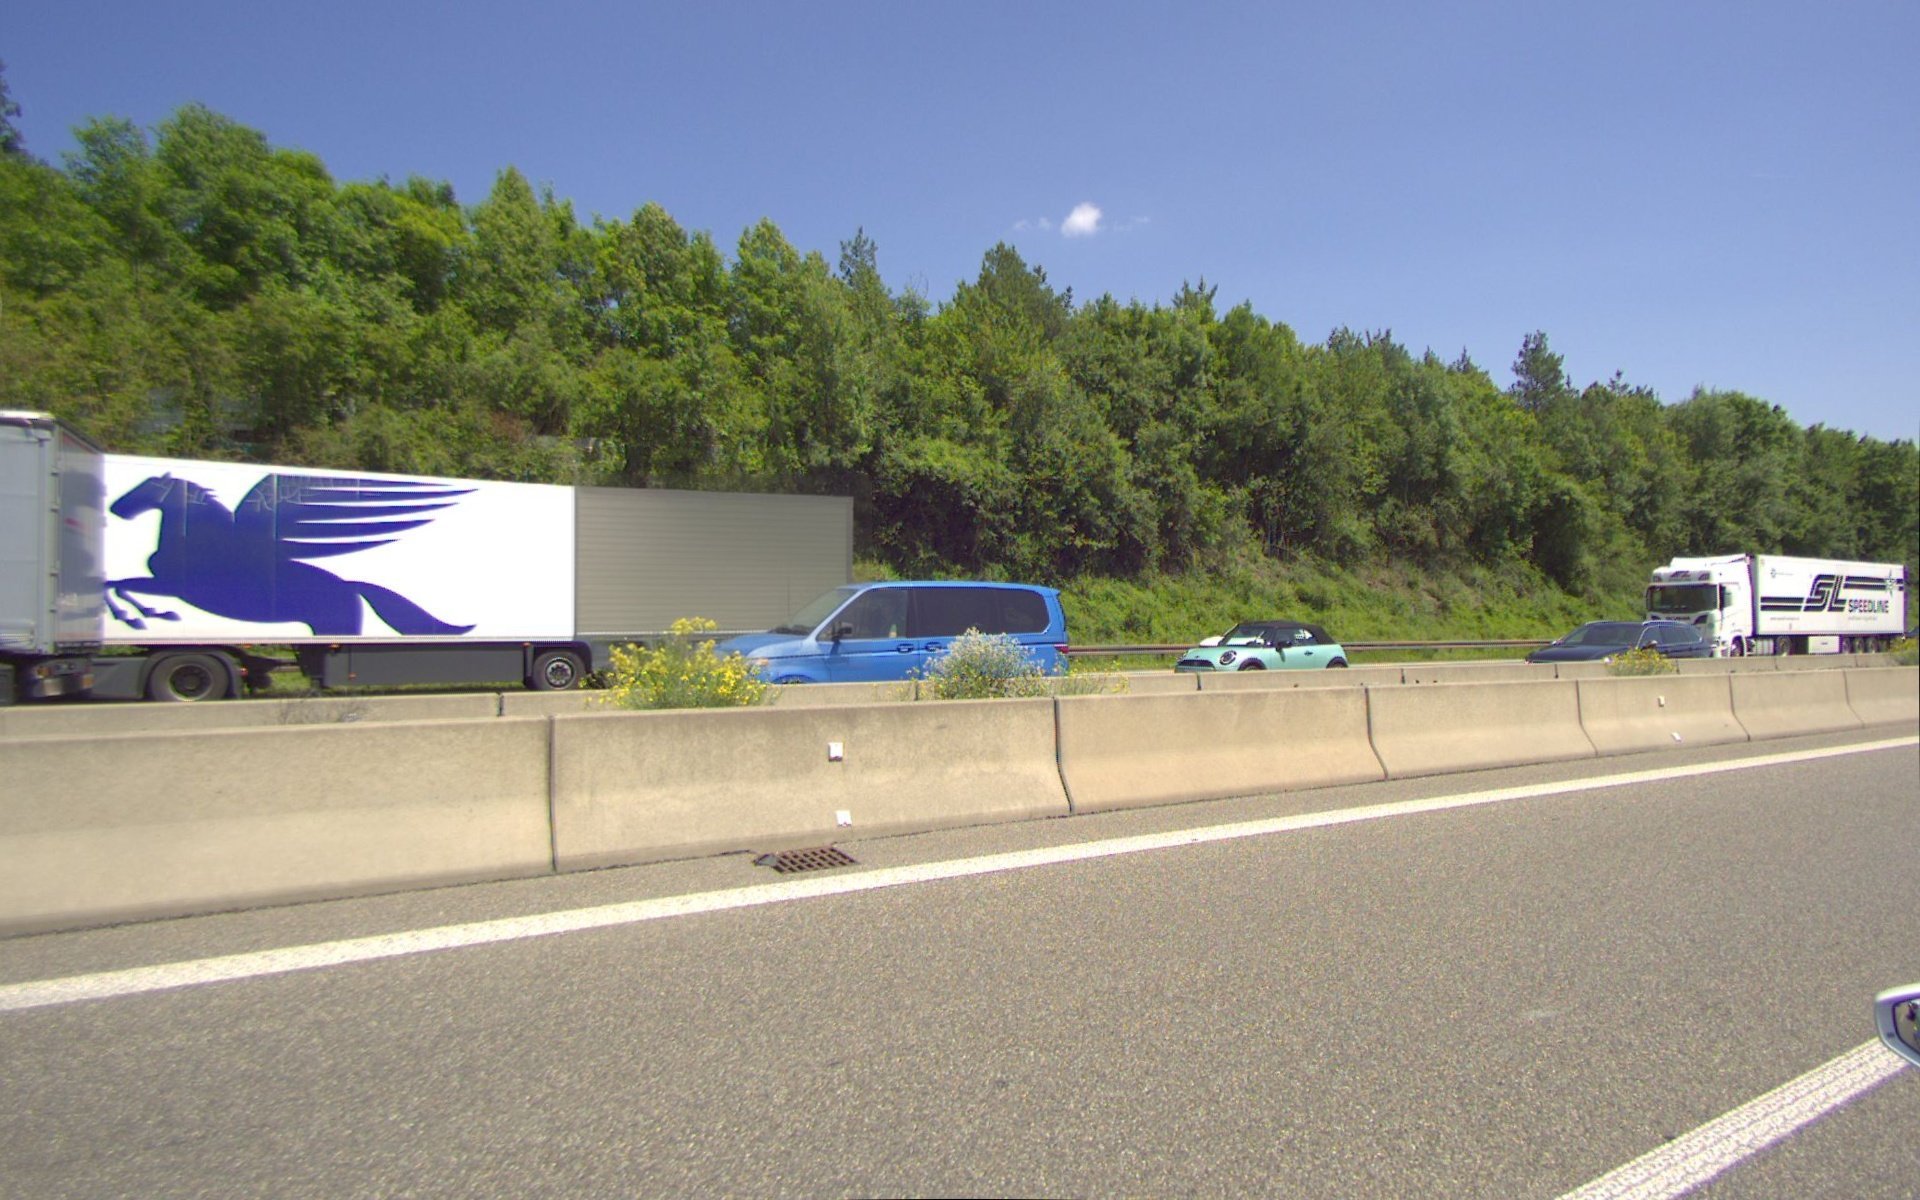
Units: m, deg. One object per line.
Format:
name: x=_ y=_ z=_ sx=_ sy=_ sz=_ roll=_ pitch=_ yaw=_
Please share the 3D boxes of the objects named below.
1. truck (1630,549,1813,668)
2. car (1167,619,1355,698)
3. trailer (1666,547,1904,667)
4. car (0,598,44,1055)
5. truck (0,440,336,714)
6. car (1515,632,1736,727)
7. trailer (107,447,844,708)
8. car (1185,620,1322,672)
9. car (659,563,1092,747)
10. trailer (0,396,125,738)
truck: x=29.220 y=0.433 z=38.470 sx=7.507 sy=4.219 sz=2.791 roll=2 pitch=-2 yaw=-29
car: x=6.118 y=1.169 z=20.333 sx=3.687 sy=1.463 sz=1.575 roll=2 pitch=-3 yaw=-30
trailer: x=34.213 y=0.491 z=41.356 sx=13.868 sy=4.395 sz=2.791 roll=2 pitch=-2 yaw=-30
car: x=-4.805 y=0.662 z=1.563 sx=4.674 sy=1.446 sz=1.725 roll=1 pitch=-2 yaw=-30
truck: x=-13.695 y=-0.259 z=17.103 sx=5.026 sy=4.100 sz=2.794 roll=2 pitch=-2 yaw=-31
car: x=13.212 y=1.488 z=19.898 sx=4.484 sy=1.661 sz=1.897 roll=1 pitch=-1 yaw=-30
trailer: x=-8.621 y=-0.141 z=20.149 sx=12.481 sy=4.100 sz=2.794 roll=2 pitch=-2 yaw=-31
car: x=9.016 y=1.376 z=30.764 sx=4.141 sy=1.486 sz=1.659 roll=1 pitch=-1 yaw=-31
car: x=-0.932 y=0.657 z=12.322 sx=4.977 sy=1.871 sz=1.903 roll=2 pitch=-3 yaw=-30
trailer: x=-18.210 y=-0.555 z=10.182 sx=14.568 sy=4.219 sz=2.822 roll=2 pitch=-3 yaw=-31
